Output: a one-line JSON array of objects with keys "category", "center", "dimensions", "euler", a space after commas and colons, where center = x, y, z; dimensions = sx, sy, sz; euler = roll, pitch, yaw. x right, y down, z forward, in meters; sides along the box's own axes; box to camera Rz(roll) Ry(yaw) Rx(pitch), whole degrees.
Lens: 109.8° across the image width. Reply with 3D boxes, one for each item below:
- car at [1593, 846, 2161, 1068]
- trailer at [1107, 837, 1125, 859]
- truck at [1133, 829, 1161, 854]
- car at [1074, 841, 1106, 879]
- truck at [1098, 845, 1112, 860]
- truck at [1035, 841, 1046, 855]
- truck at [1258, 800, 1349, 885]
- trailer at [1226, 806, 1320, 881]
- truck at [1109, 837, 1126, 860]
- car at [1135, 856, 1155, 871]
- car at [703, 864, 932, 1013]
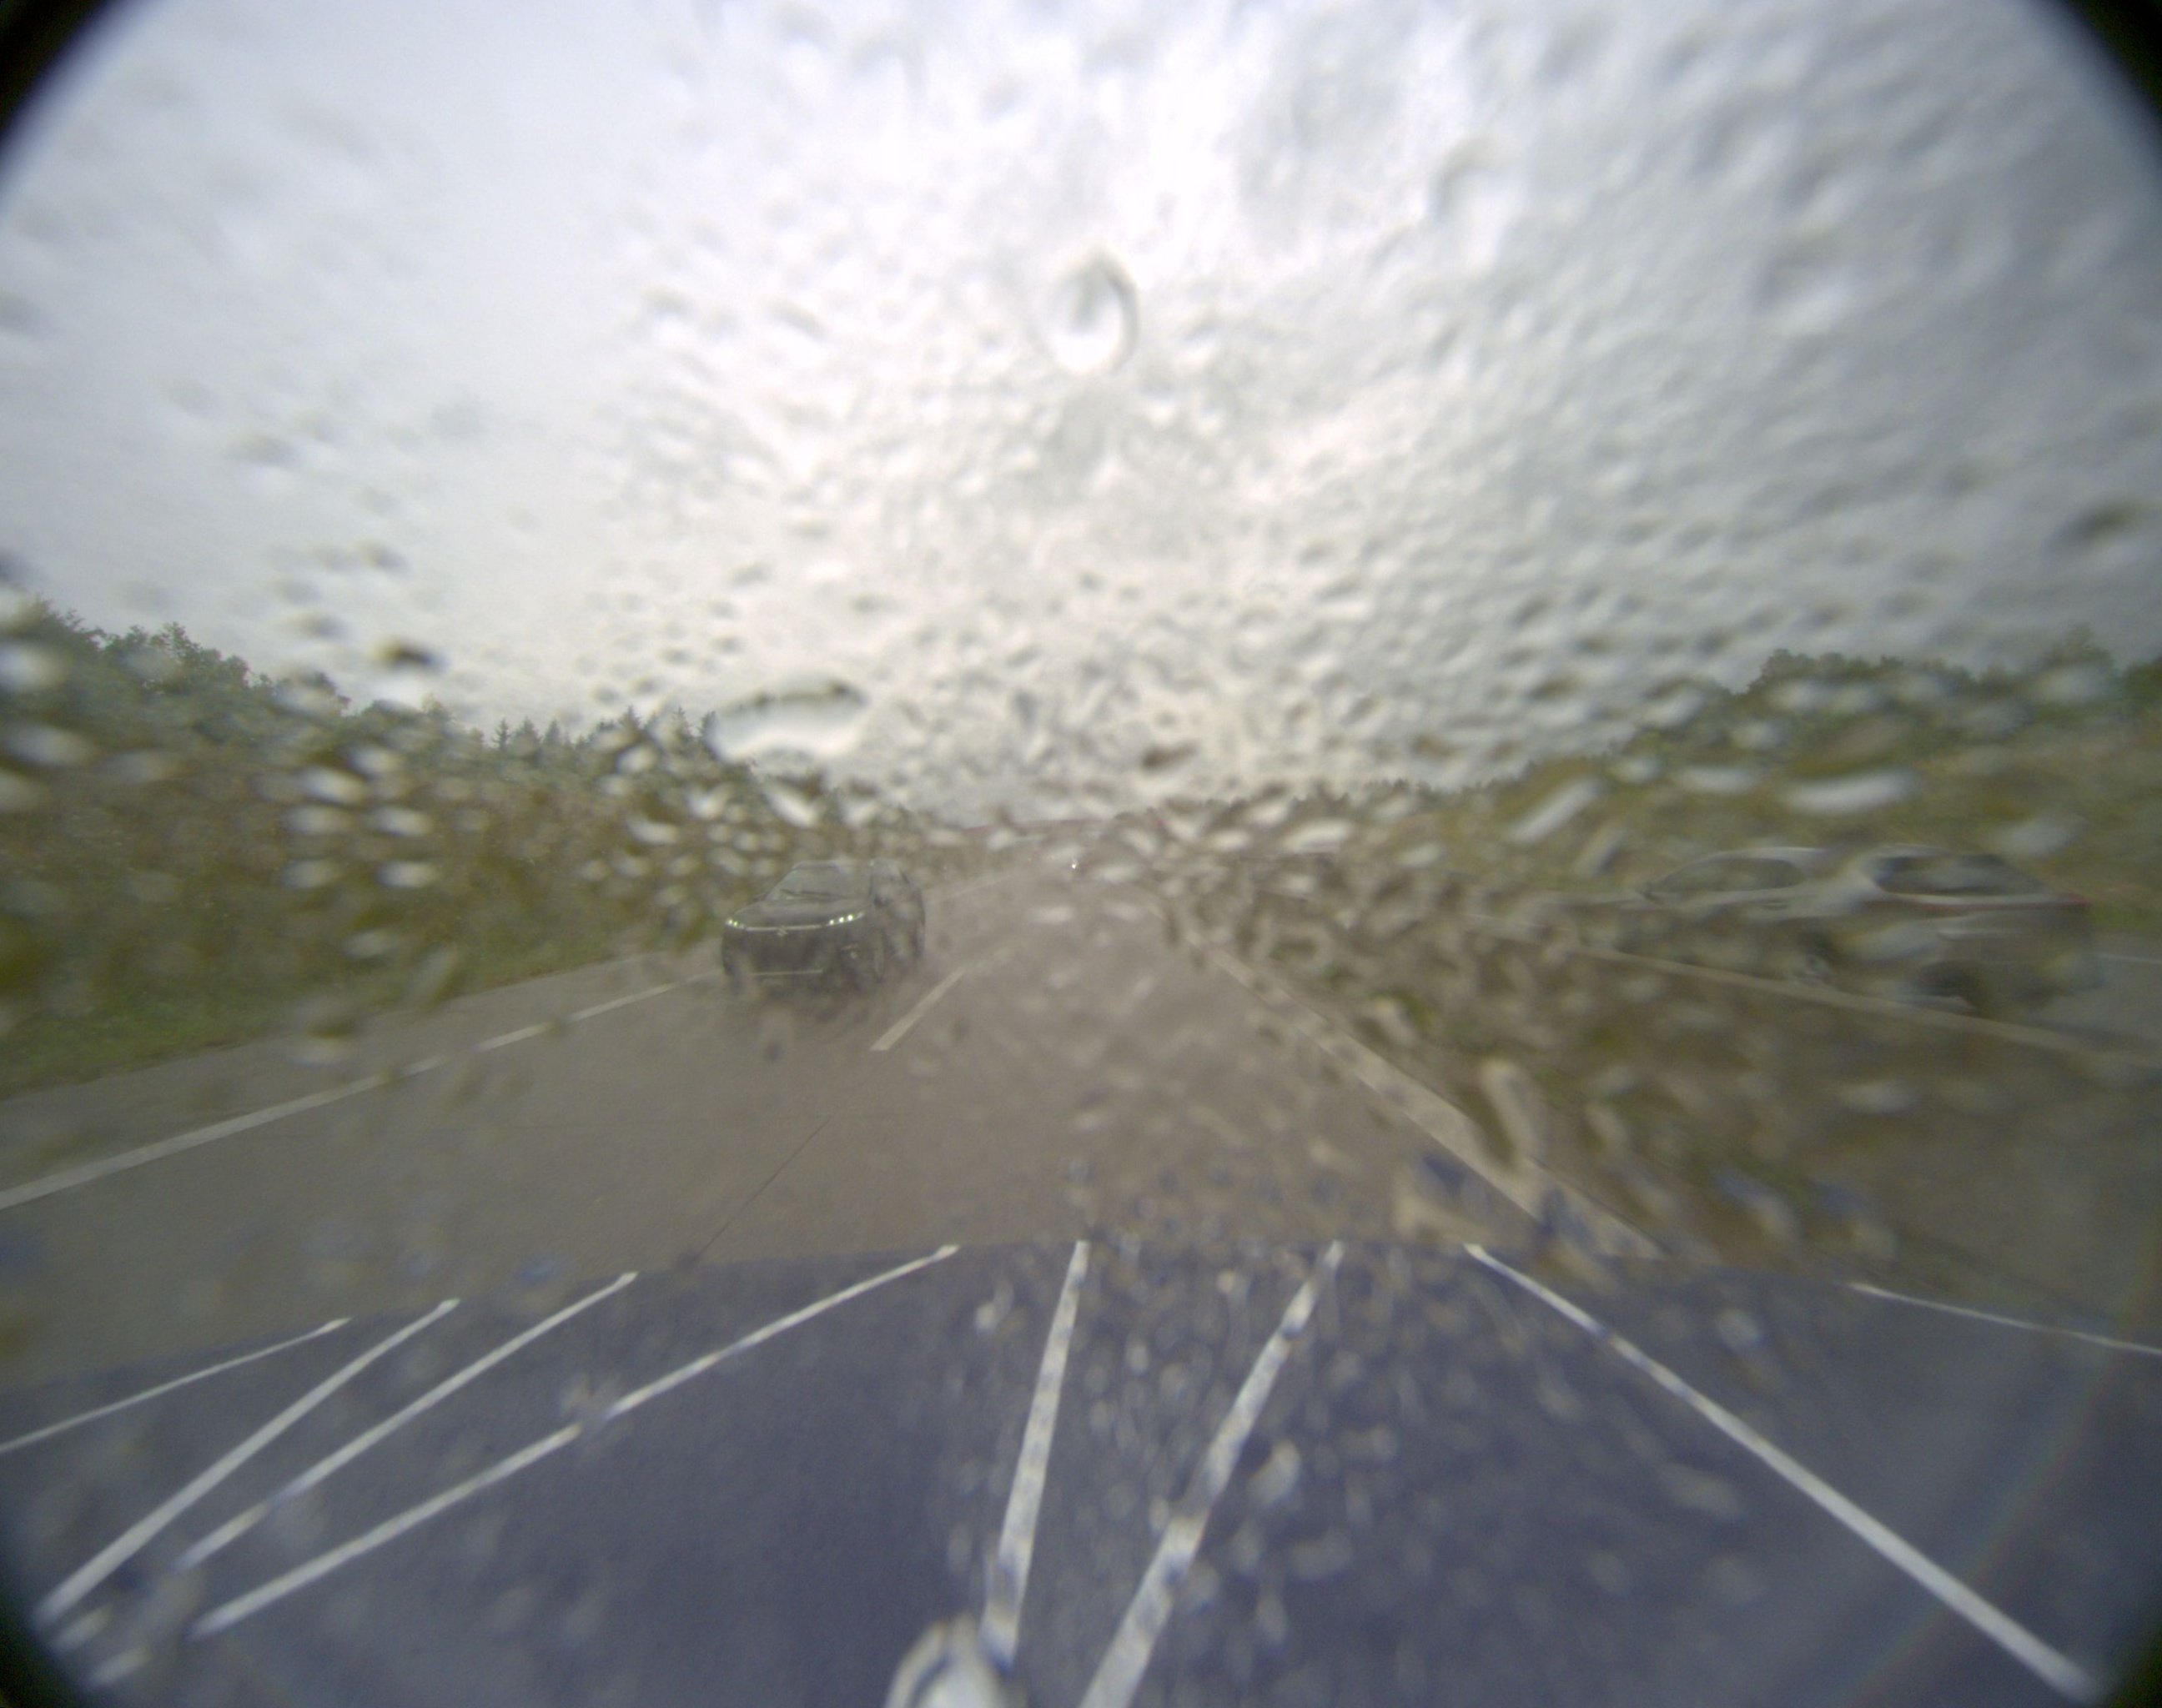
[{"category": "car", "center": [7.312, 0.780, 7.291], "dimensions": [1.998, 1.509, 4.190], "euler": [0, -2, 1]}, {"category": "trailer", "center": [7.378, -1.205, 163.264], "dimensions": [2.855, 4.494, 11.335], "euler": [-2, 0, -2]}, {"category": "truck", "center": [9.572, -1.742, 110.862], "dimensions": [3.176, 3.512, 8.363], "euler": [-1, 0, -1]}, {"category": "car", "center": [0.494, 0.433, 44.823], "dimensions": [1.795, 2.112, 4.525], "euler": [0, -2, -1]}, {"category": "truck", "center": [4.547, -0.260, 144.064], "dimensions": [2.339, 2.766, 6.160], "euler": [-1, 0, -1]}, {"category": "truck", "center": [-12.649, -1.713, 234.454], "dimensions": [2.768, 4.062, 5.434], "euler": [1, -2, -10]}, {"category": "truck", "center": [10.864, -0.527, 37.620], "dimensions": [2.893, 3.847, 5.193], "euler": [-1, 0, -1]}, {"category": "trailer", "center": [10.839, -0.508, 44.096], "dimensions": [2.911, 3.818, 9.358], "euler": [-2, 0, -1]}, {"category": "truck", "center": [7.538, -1.104, 156.734], "dimensions": [2.828, 4.494, 6.623], "euler": [-2, 0, -1]}, {"category": "car", "center": [6.490, 0.969, 77.464], "dimensions": [1.665, 1.477, 4.000], "euler": [0, 0, 0]}, {"category": "car", "center": [-3.316, 0.971, 10.359], "dimensions": [1.899, 1.567, 3.631], "euler": [-2, 0, -2]}]
